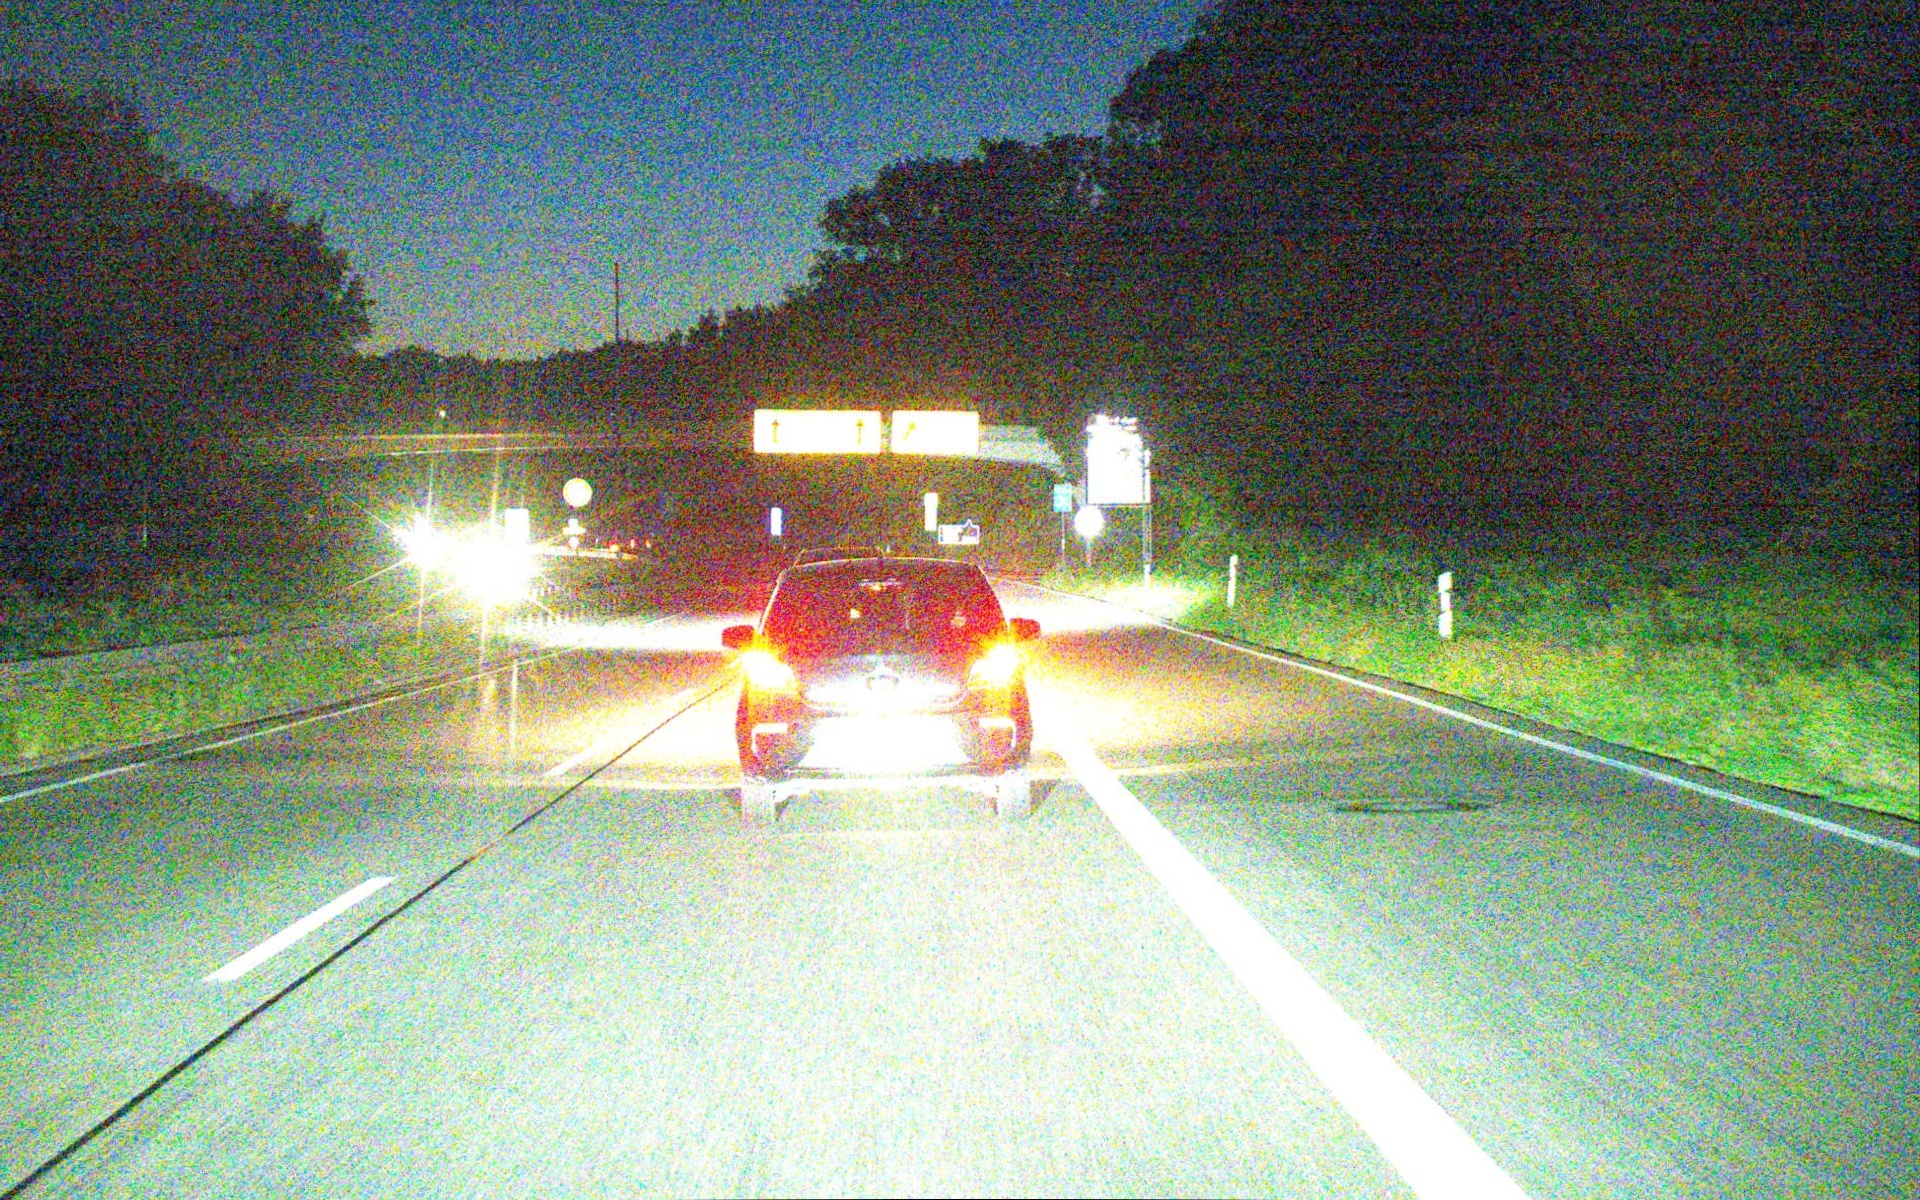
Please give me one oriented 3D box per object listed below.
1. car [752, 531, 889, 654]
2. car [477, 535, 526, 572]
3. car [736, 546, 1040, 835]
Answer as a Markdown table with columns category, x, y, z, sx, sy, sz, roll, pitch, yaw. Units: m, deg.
| category | x | y | z | sx | sy | sz | roll | pitch | yaw |
| --- | --- | --- | --- | --- | --- | --- | --- | --- | --- |
| car | -2.019 | -0.149 | 50.461 | 1.906 | 1.692 | 4.001 | 1 | 1 | -2 |
| car | -22.845 | -2.336 | 171.418 | 1.967 | 1.757 | 5.033 | -1 | 1 | -2 |
| car | -0.473 | 0.448 | 20.219 | 1.588 | 1.503 | 4.001 | -1 | 1 | -3 |
